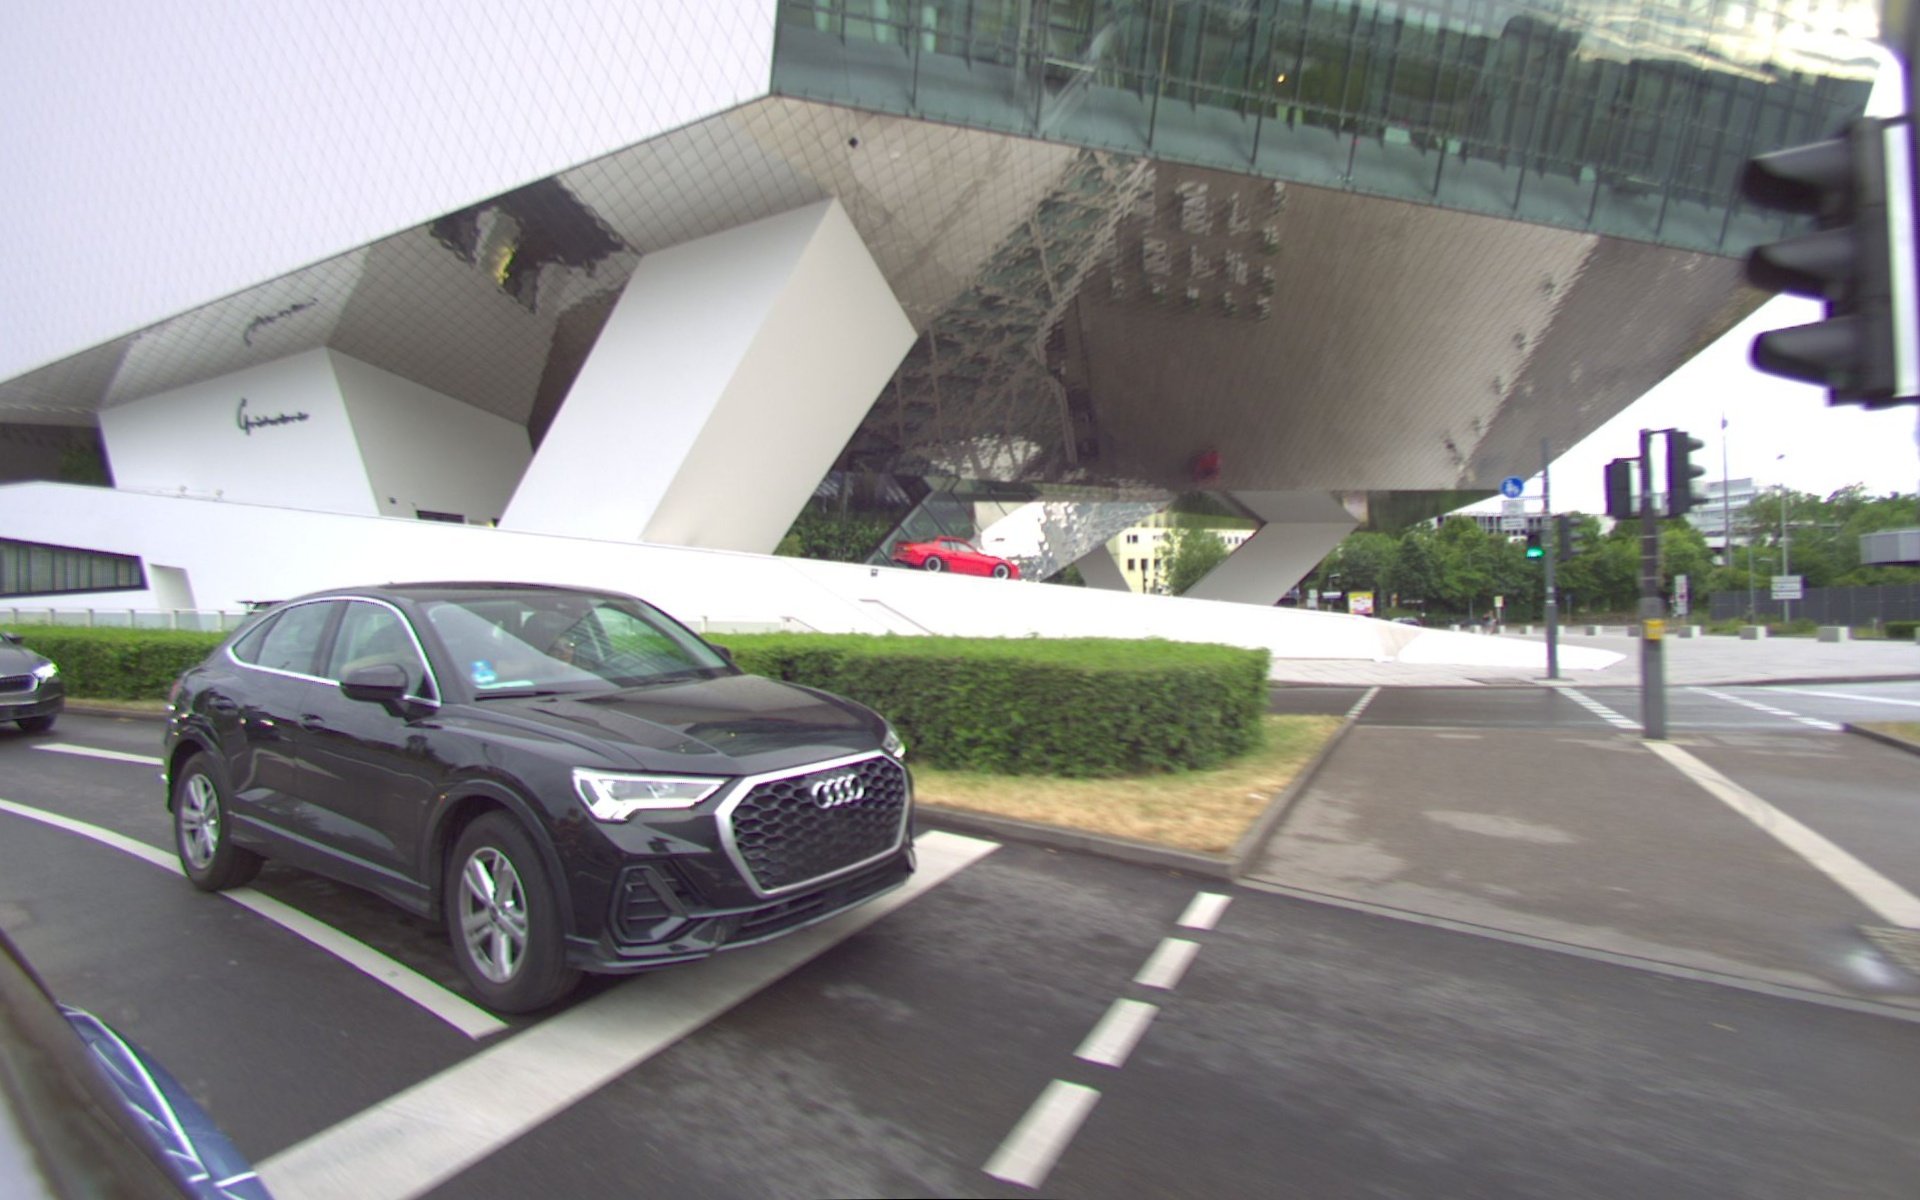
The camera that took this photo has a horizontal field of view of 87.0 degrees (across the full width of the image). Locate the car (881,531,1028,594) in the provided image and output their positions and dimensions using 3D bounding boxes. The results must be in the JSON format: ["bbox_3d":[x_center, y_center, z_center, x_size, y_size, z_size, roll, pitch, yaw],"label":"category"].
[{"bbox_3d":[-0.190,-1.167,32.723,4.173,1.395,2.007,7,-4,-22],"label":"car"}]

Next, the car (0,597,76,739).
[{"bbox_3d":[-11.936,0.721,11.141,4.279,1.449,1.802,0,1,26],"label":"car"}]

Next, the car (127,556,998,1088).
[{"bbox_3d":[-2.128,0.620,4.865,4.383,1.529,1.738,0,1,34],"label":"car"}]
